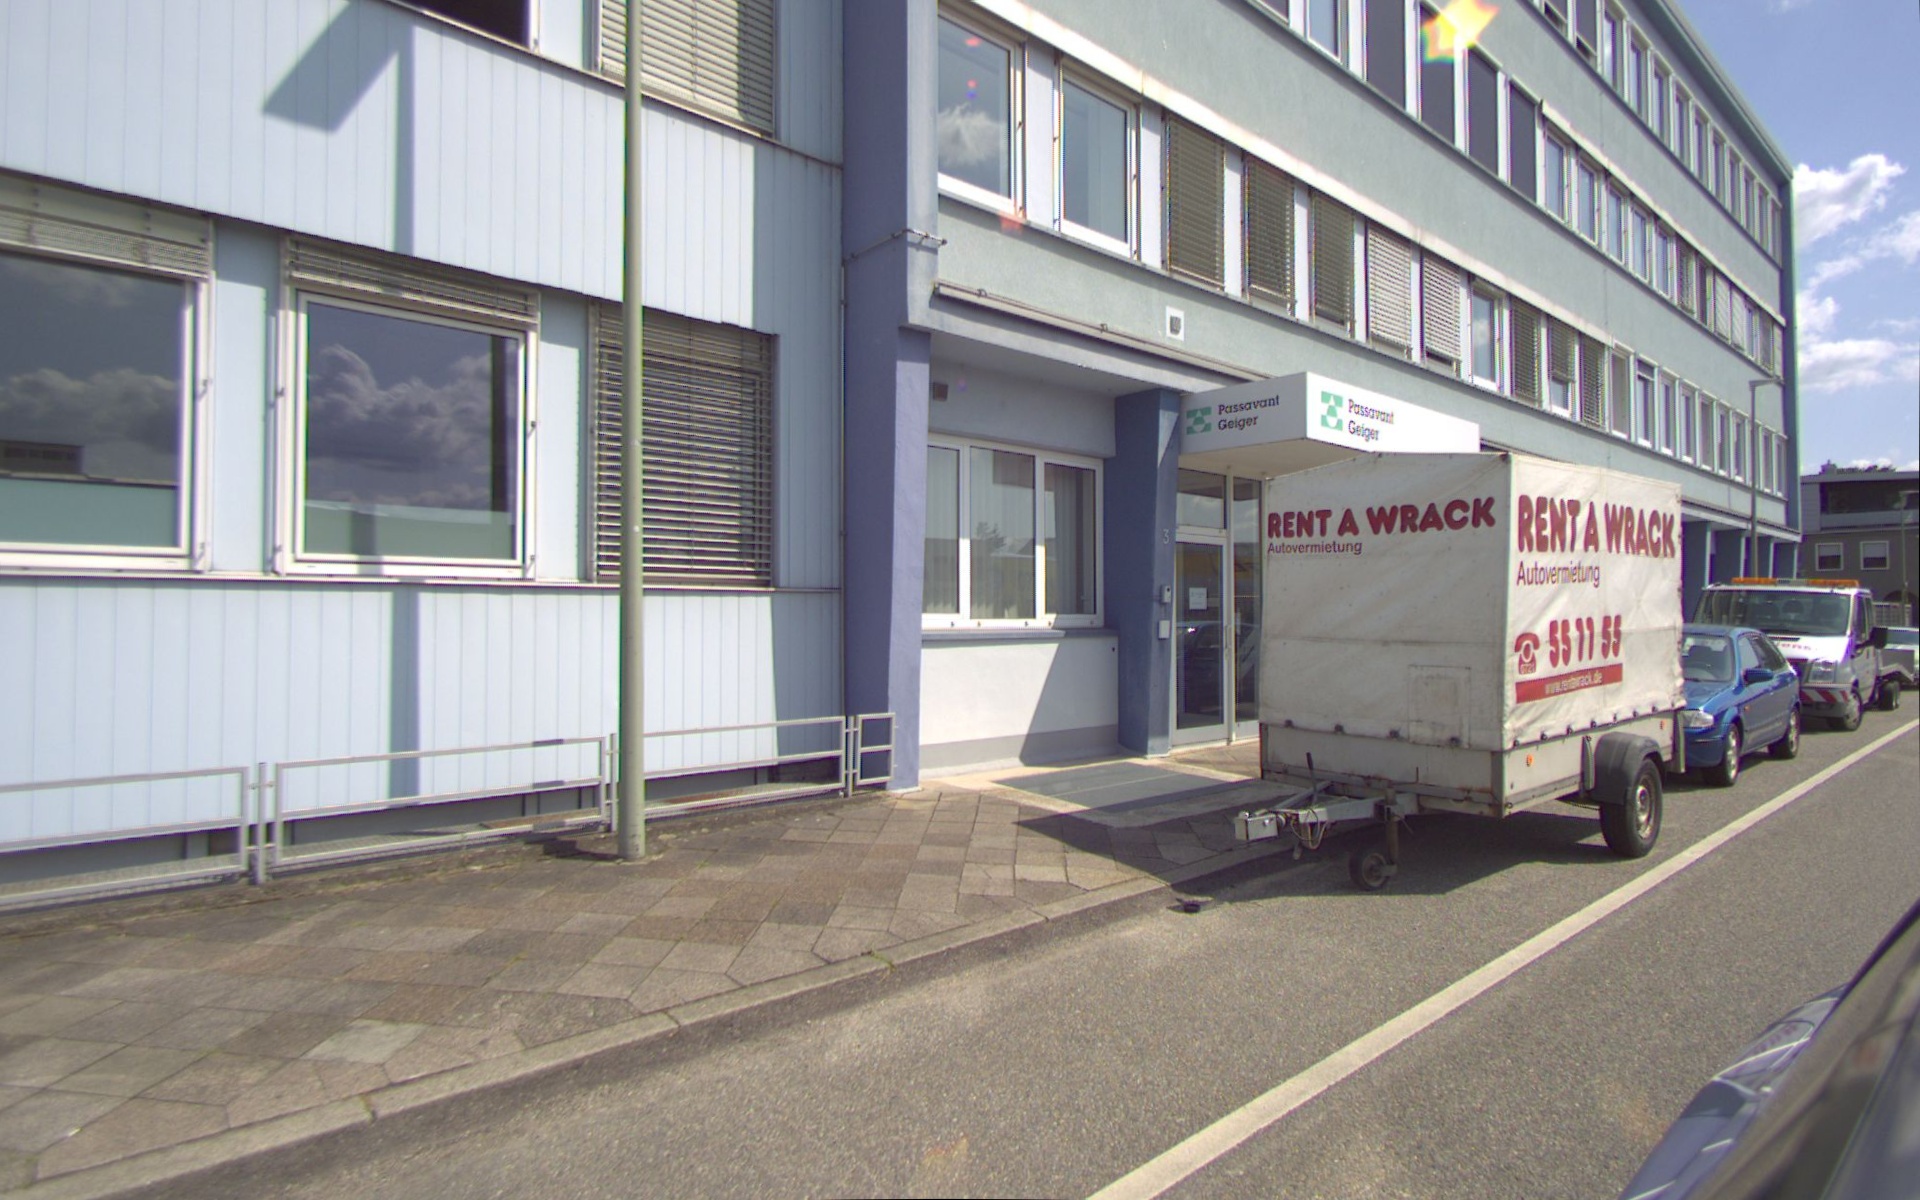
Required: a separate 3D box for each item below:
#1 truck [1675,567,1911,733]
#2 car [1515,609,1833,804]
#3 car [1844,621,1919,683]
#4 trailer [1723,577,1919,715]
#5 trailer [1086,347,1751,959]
[{"bbox_3d":[12.321,0.656,14.855,4.652,2.061,1.966,1,-2,-42],"label":"truck"},{"bbox_3d":[7.493,0.895,10.453,4.326,1.562,1.721,0,0,-41],"label":"car"},{"bbox_3d":[20.988,1.106,22.418,3.931,1.262,1.649,1,-2,-42],"label":"car"},{"bbox_3d":[14.926,0.705,17.275,5.666,1.996,1.975,1,-2,-42],"label":"trailer"},{"bbox_3d":[3.245,0.251,6.585,4.979,2.586,1.872,1,-2,-39],"label":"trailer"}]
